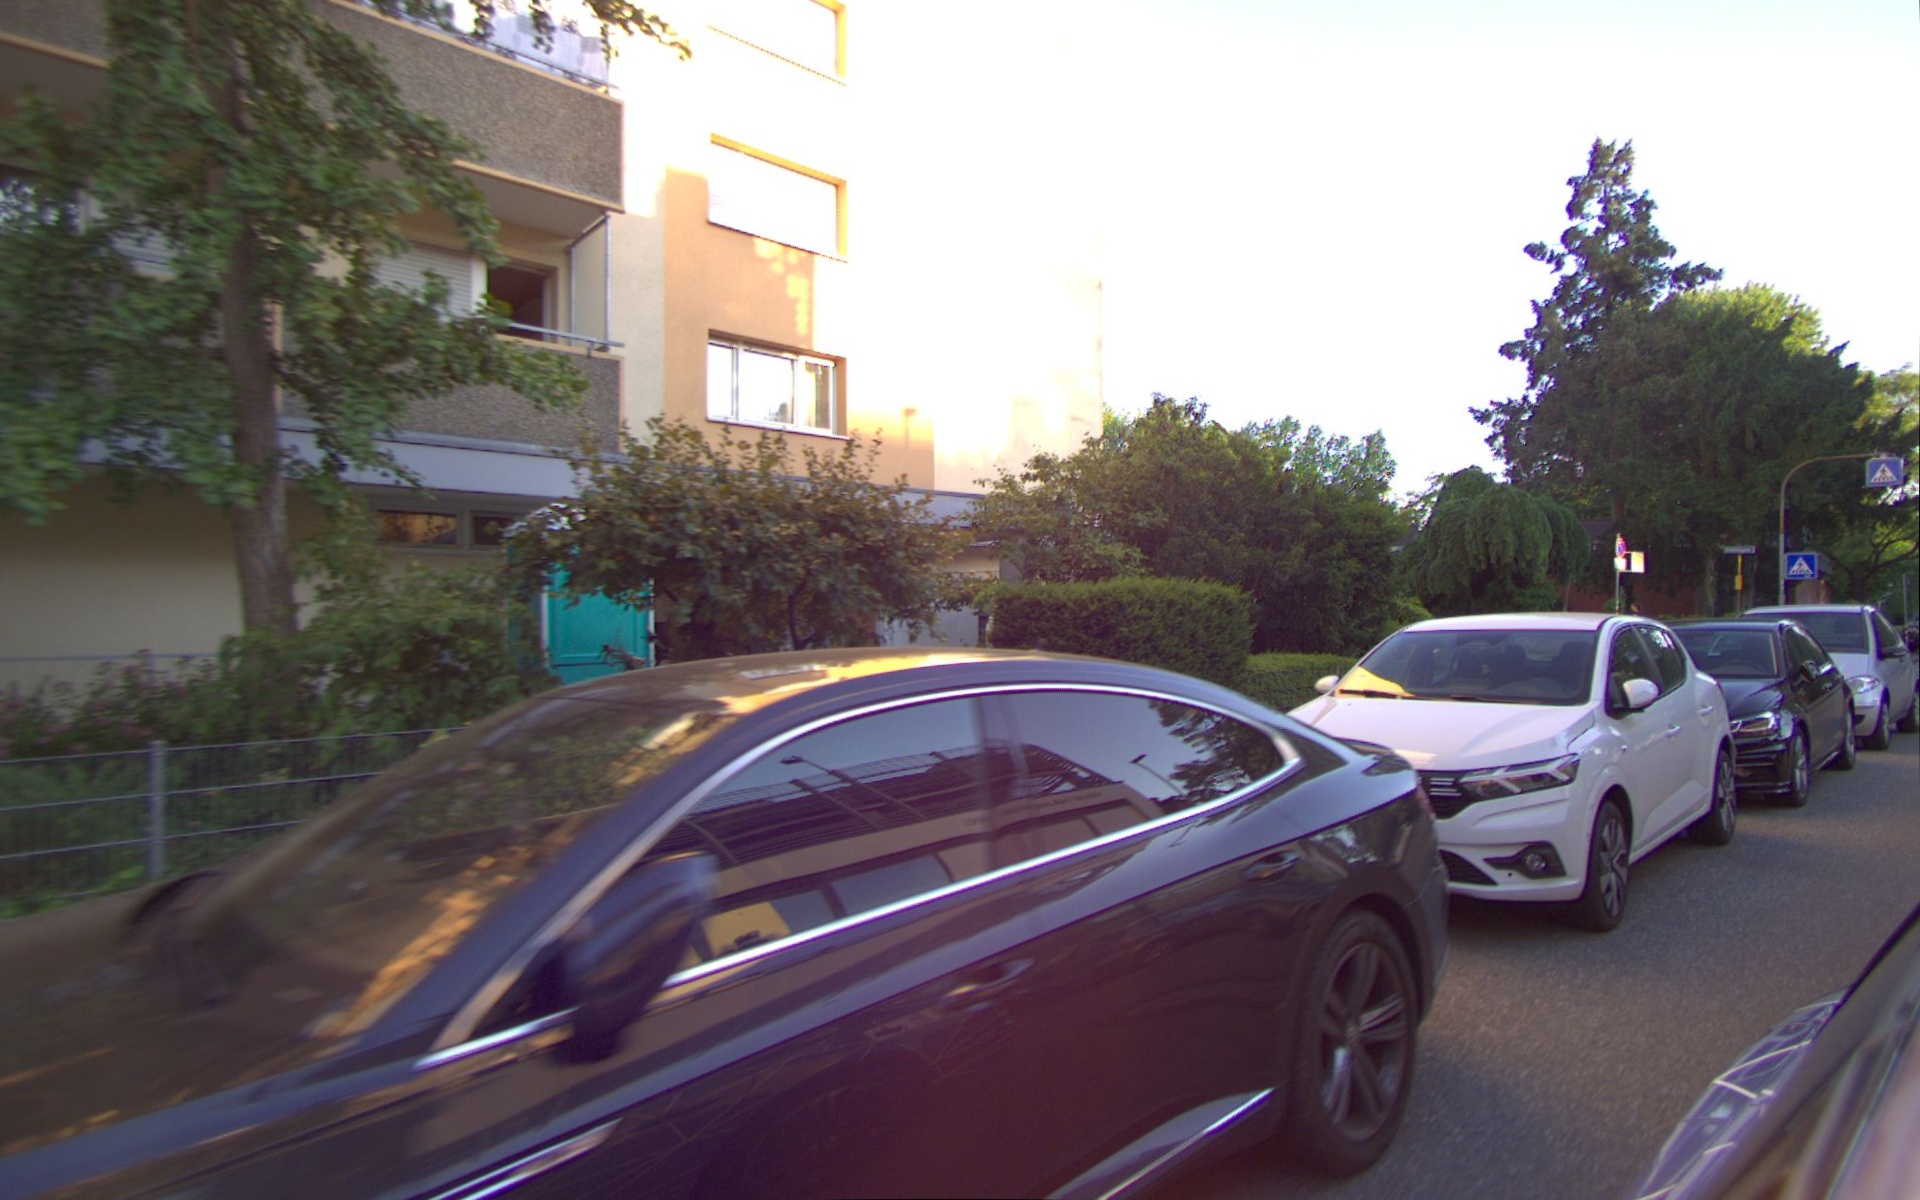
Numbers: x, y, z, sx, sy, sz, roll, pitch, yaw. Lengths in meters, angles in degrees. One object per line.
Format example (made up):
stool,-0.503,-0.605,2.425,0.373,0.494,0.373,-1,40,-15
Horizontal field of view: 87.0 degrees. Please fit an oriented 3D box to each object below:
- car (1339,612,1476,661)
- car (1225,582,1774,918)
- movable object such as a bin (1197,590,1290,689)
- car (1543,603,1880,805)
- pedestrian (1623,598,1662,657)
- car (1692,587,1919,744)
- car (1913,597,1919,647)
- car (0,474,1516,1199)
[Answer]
car,14.608,1.155,33.127,3.772,1.504,1.698,-1,-2,40
car,3.512,0.679,6.296,3.828,1.435,1.812,1,-2,-42
movable object such as a bin,4.353,0.593,15.497,0.876,1.434,1.280,-1,-3,44
car,6.921,0.779,9.174,3.958,1.437,1.719,1,-2,-42
pedestrian,21.081,0.826,31.269,0.818,1.747,0.853,4,2,30
car,10.468,0.705,12.293,3.817,1.596,1.812,1,-2,-42
car,36.063,0.839,36.867,3.820,1.776,1.783,2,0,-44
car,-0.441,0.635,2.506,4.545,1.435,1.812,1,-2,-42
